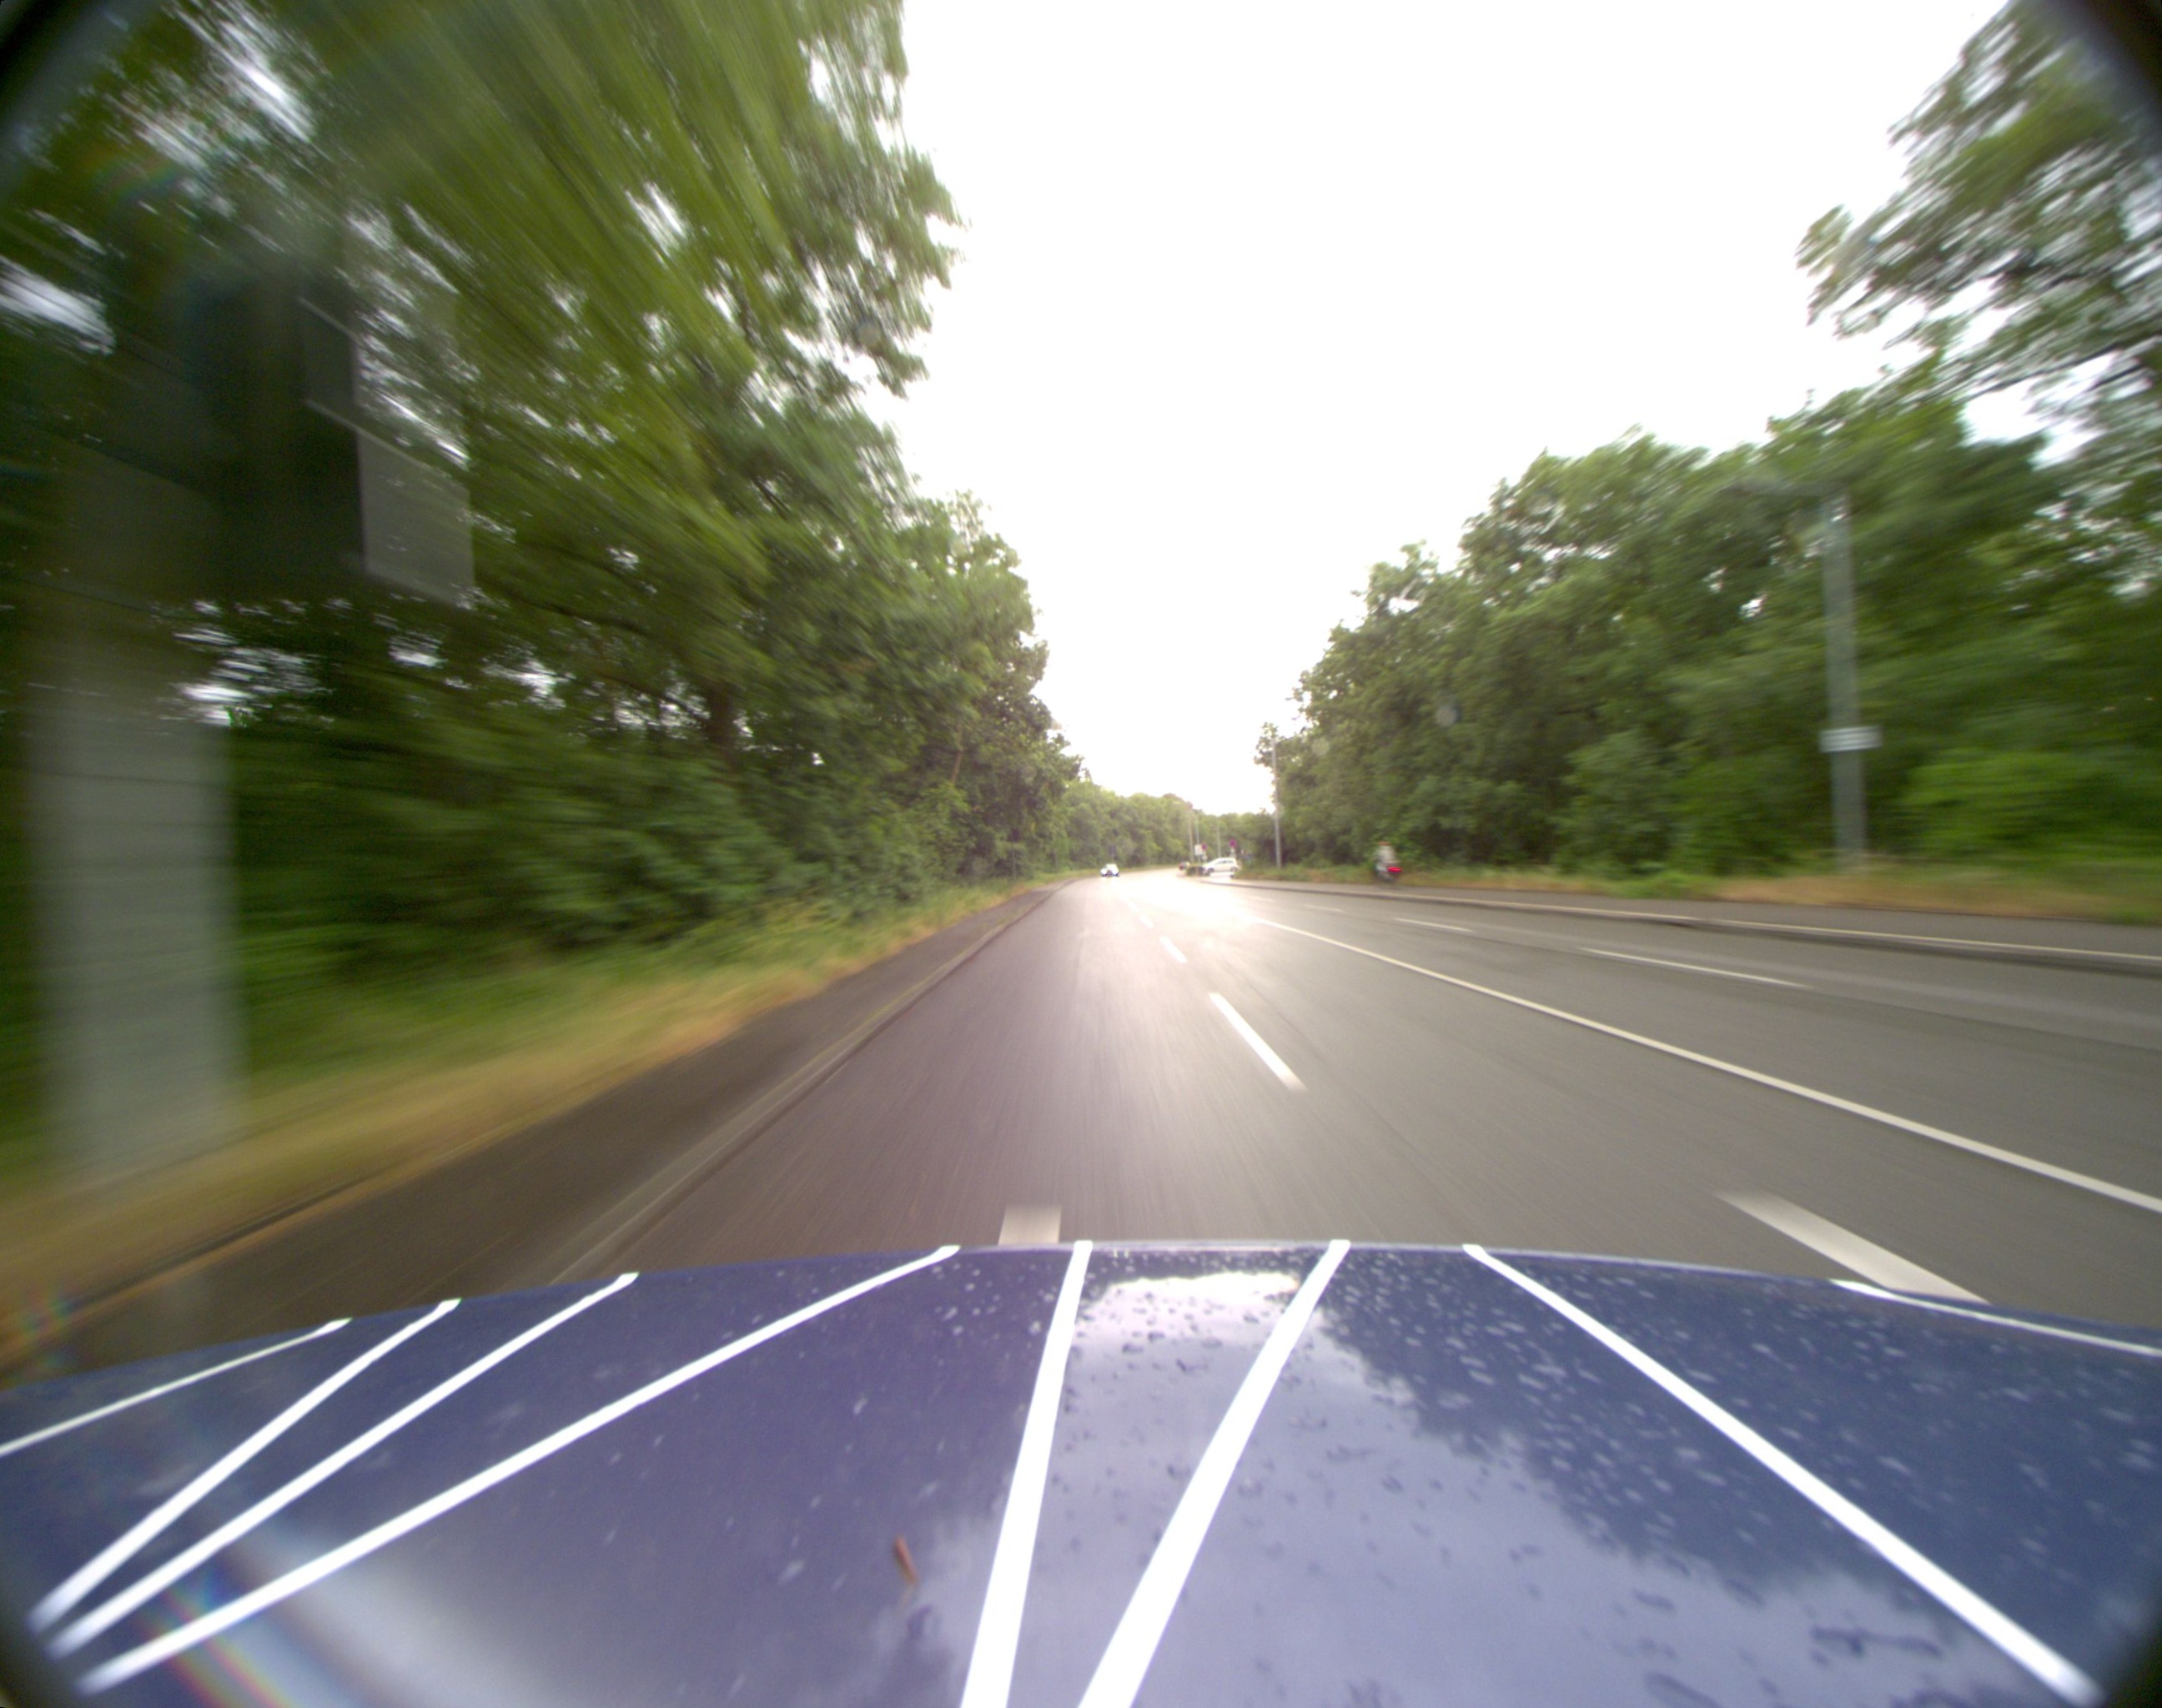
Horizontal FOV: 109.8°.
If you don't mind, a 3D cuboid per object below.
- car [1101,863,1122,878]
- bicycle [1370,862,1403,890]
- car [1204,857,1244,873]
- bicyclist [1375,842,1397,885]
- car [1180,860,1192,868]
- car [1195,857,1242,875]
[{"bbox_3d":[3.416,1.788,84.397,1.998,1.576,4.002,-1,0,6],"label":"car"},{"bbox_3d":[11.575,0.816,28.859,0.453,0.998,2.018,-4,-1,2],"label":"bicycle"},{"bbox_3d":[16.293,1.265,86.913,4.378,1.592,1.757,-3,0,8],"label":"car"},{"bbox_3d":[11.526,0.350,28.740,0.580,1.577,0.700,-1,0,4],"label":"bicyclist"},{"bbox_3d":[19.327,1.874,139.904,1.855,1.464,3.917,-1,-1,12],"label":"car"},{"bbox_3d":[14.743,1.295,81.402,4.751,1.706,1.895,-3,0,6],"label":"car"}]
